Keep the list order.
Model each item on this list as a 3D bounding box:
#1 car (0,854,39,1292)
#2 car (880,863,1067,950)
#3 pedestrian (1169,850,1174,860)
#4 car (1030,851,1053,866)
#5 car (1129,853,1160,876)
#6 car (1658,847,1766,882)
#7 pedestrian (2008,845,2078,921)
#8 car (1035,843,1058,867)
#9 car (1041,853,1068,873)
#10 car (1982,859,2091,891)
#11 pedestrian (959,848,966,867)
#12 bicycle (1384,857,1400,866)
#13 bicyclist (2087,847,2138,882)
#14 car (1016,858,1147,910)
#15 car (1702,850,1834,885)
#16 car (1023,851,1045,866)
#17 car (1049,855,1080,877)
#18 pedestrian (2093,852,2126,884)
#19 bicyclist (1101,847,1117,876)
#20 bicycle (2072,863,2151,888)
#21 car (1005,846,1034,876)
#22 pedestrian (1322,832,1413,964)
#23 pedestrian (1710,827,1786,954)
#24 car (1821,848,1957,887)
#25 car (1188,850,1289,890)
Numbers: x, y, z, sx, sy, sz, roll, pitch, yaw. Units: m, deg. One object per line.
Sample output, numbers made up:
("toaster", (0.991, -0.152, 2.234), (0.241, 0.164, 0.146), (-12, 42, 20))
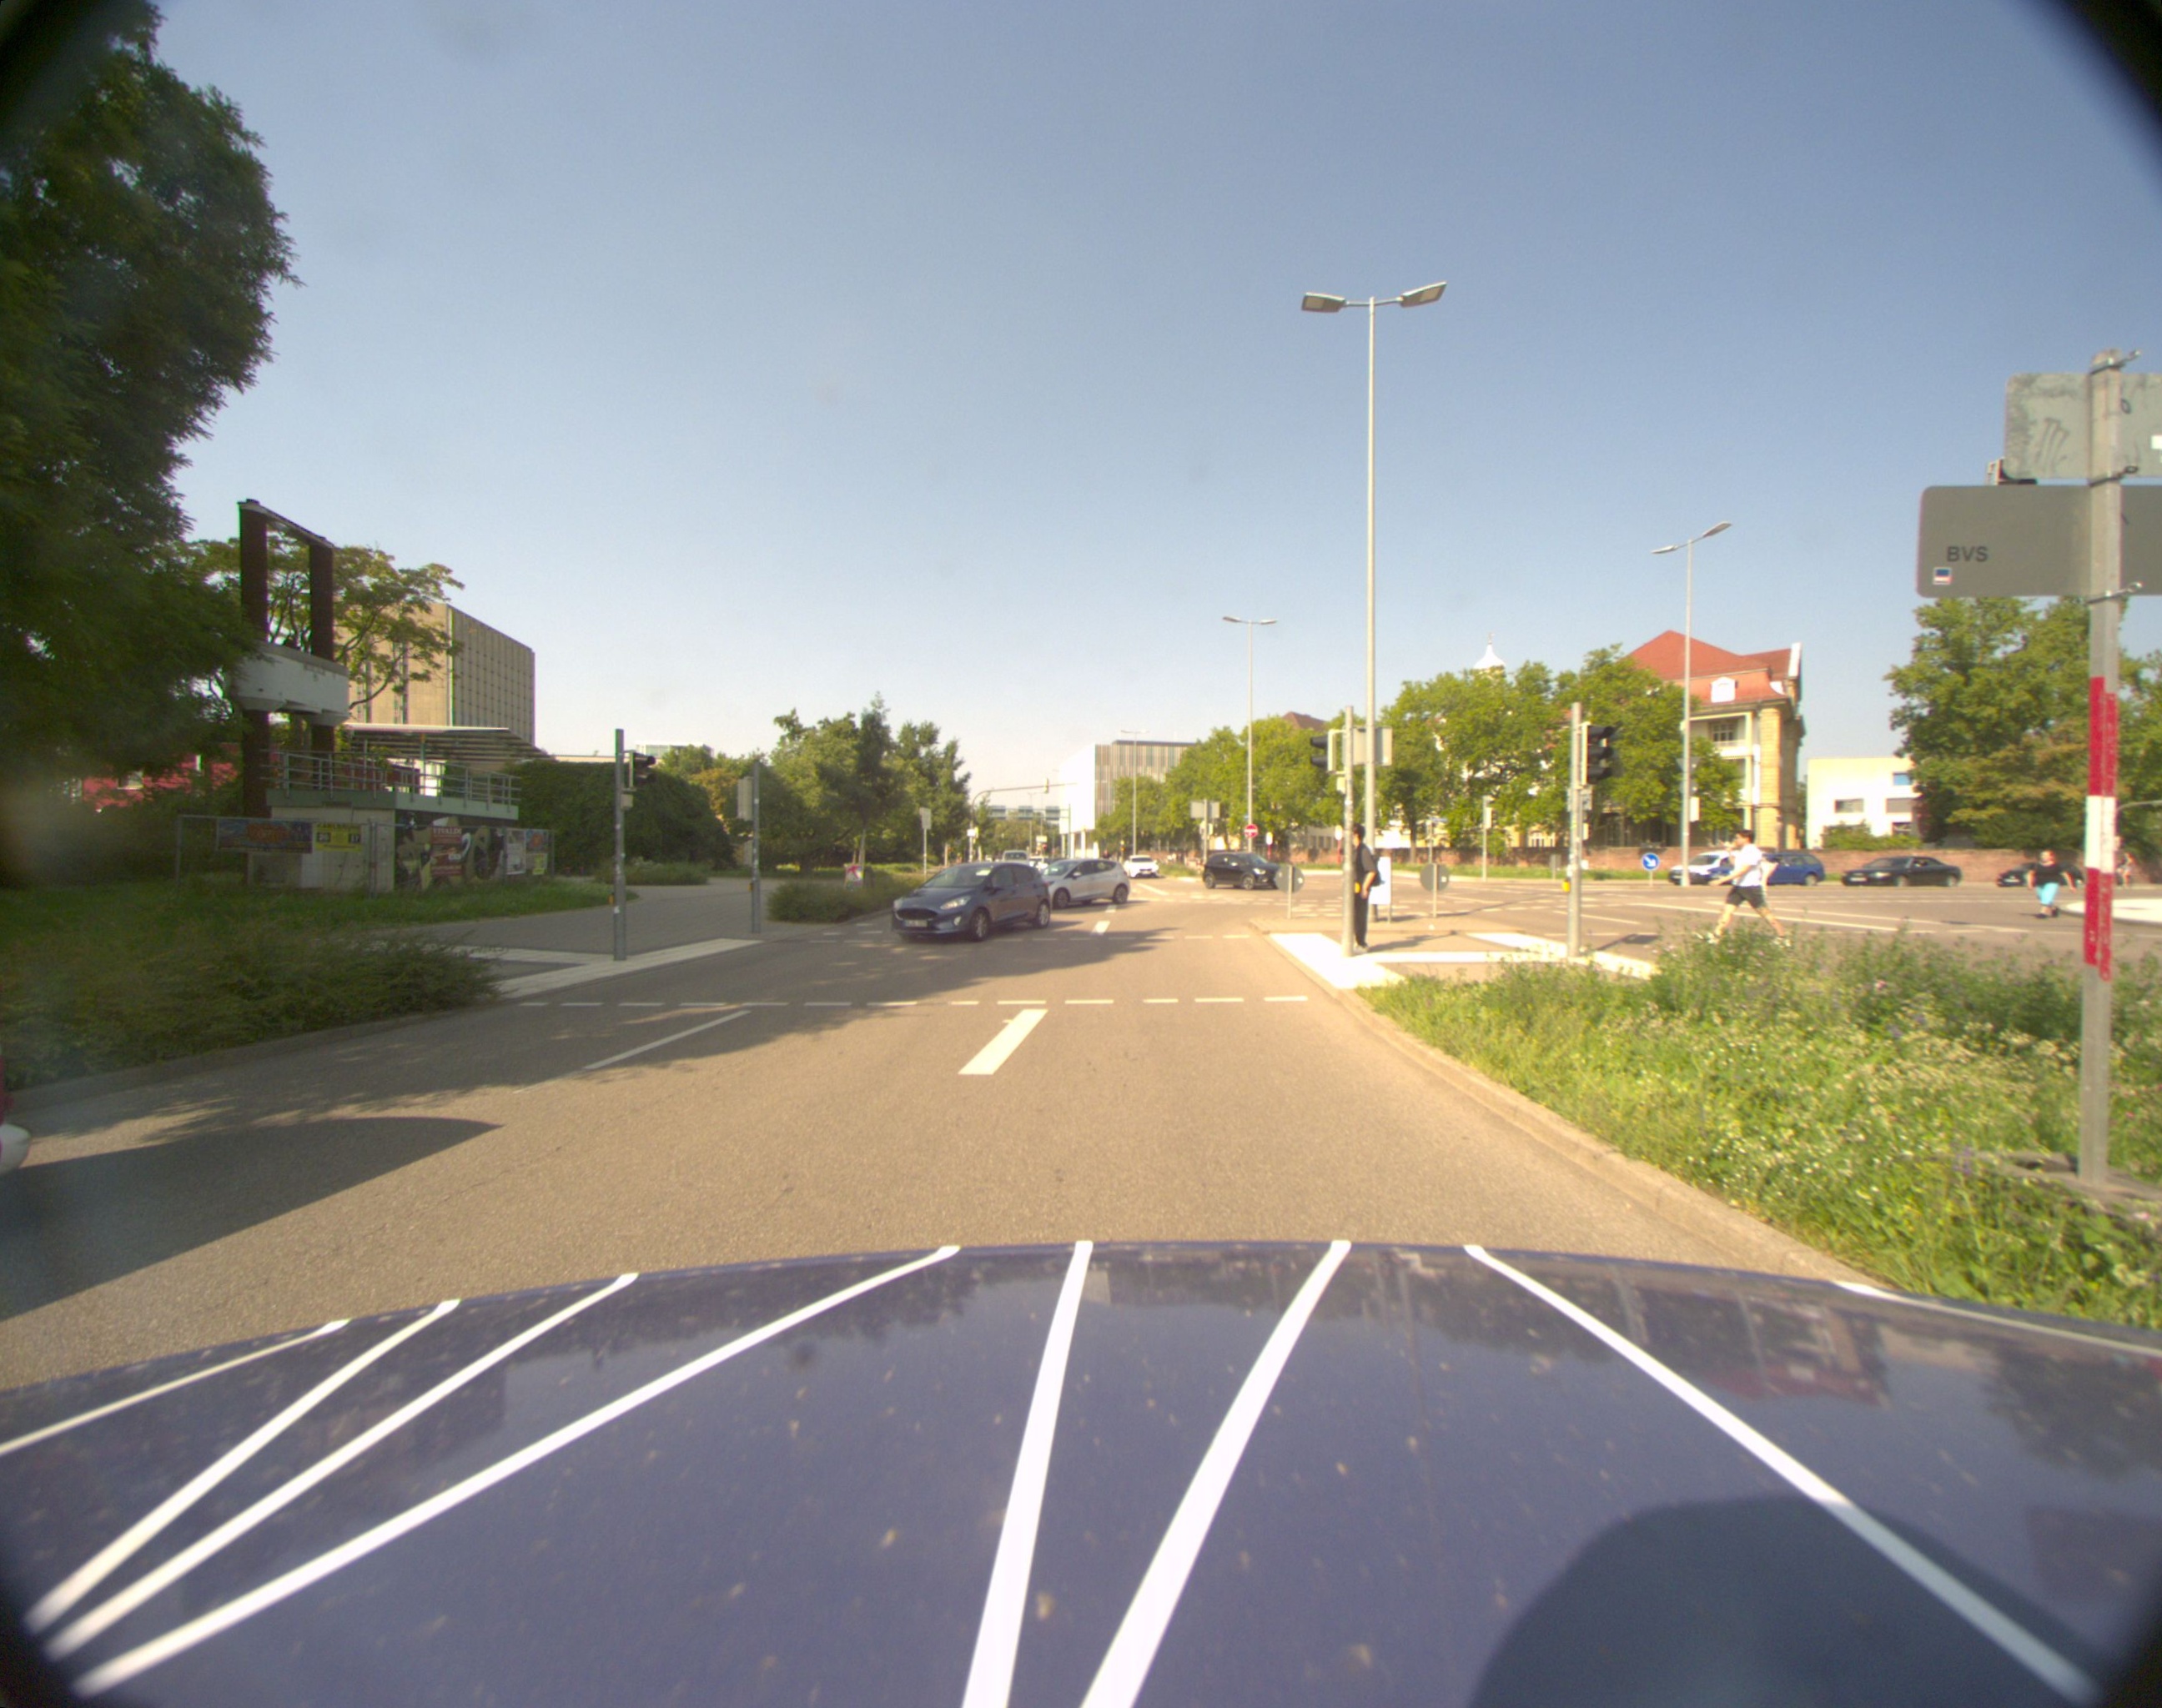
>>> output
("car", (-5.691, 0.935, 1.269), (1.735, 1.808, 4.281), (-1, 0, 10))
("car", (-1.963, 0.929, 15.308), (1.637, 1.418, 4.329), (-1, 0, 24))
("pedestrian", (13.146, 0.149, 109.837), (0.536, 1.562, 0.501), (-1, 1, -30))
("car", (-4.077, 0.423, 77.296), (1.933, 1.497, 4.291), (0, 0, -9))
("car", (4.003, 0.627, 48.475), (1.714, 1.428, 3.864), (0, 0, 0))
("car", (30.804, 0.524, 37.147), (3.999, 1.667, 1.756), (0, -2, -7))
("pedestrian", (20.537, 0.604, 16.226), (0.668, 1.556, 0.752), (0, 2, -28))
("car", (-3.209, 0.133, 69.417), (1.749, 2.001, 3.748), (0, -2, -8))
("car", (-2.183, 0.693, 60.590), (1.999, 1.497, 4.433), (0, 0, -4))
("car", (51.052, 1.123, 40.636), (3.999, 1.667, 1.756), (0, -2, -7))
("pedestrian", (-11.705, 0.359, 75.179), (0.623, 1.835, 0.641), (0, 1, -9))
("bicycle", (32.063, 0.761, 78.447), (0.435, 0.830, 1.546), (0, 0, -35))
("bicyclist", (51.119, 0.540, 37.652), (1.369, 1.735, 0.887), (0, -2, -7))
("car", (0.076, 0.867, 23.330), (3.868, 1.424, 1.716), (0, -1, -43))
("car", (27.196, 0.496, 30.126), (4.334, 1.321, 1.606), (0, 1, -11))
("car", (-5.191, 0.460, 83.676), (1.933, 1.650, 4.291), (0, 0, -10))
("car", (-1.161, 0.766, 51.643), (1.911, 1.392, 4.918), (0, 0, -4))
("pedestrian", (64.812, 0.891, 47.878), (0.907, 2.001, 0.822), (0, -2, 4))
("bicyclist", (1.575, 0.400, 43.130), (0.749, 1.626, 0.875), (0, 1, -7))
("bicycle", (51.039, 1.056, 37.627), (3.078, 1.197, 0.887), (0, -2, -7))
("car", (-4.098, 0.445, 50.828), (1.846, 1.864, 4.971), (-1, 1, -4))
("pedestrian", (4.125, 0.616, 10.997), (1.081, 1.829, 0.730), (-1, 2, 9))
("pedestrian", (9.861, 0.522, 11.259), (0.693, 1.822, 0.571), (0, 1, 26))
("car", (33.448, 0.539, 31.514), (4.001, 1.543, 1.998), (0, 1, -10))
("car", (6.570, 0.611, 32.240), (1.856, 1.569, 4.705), (0, 1, -23))
